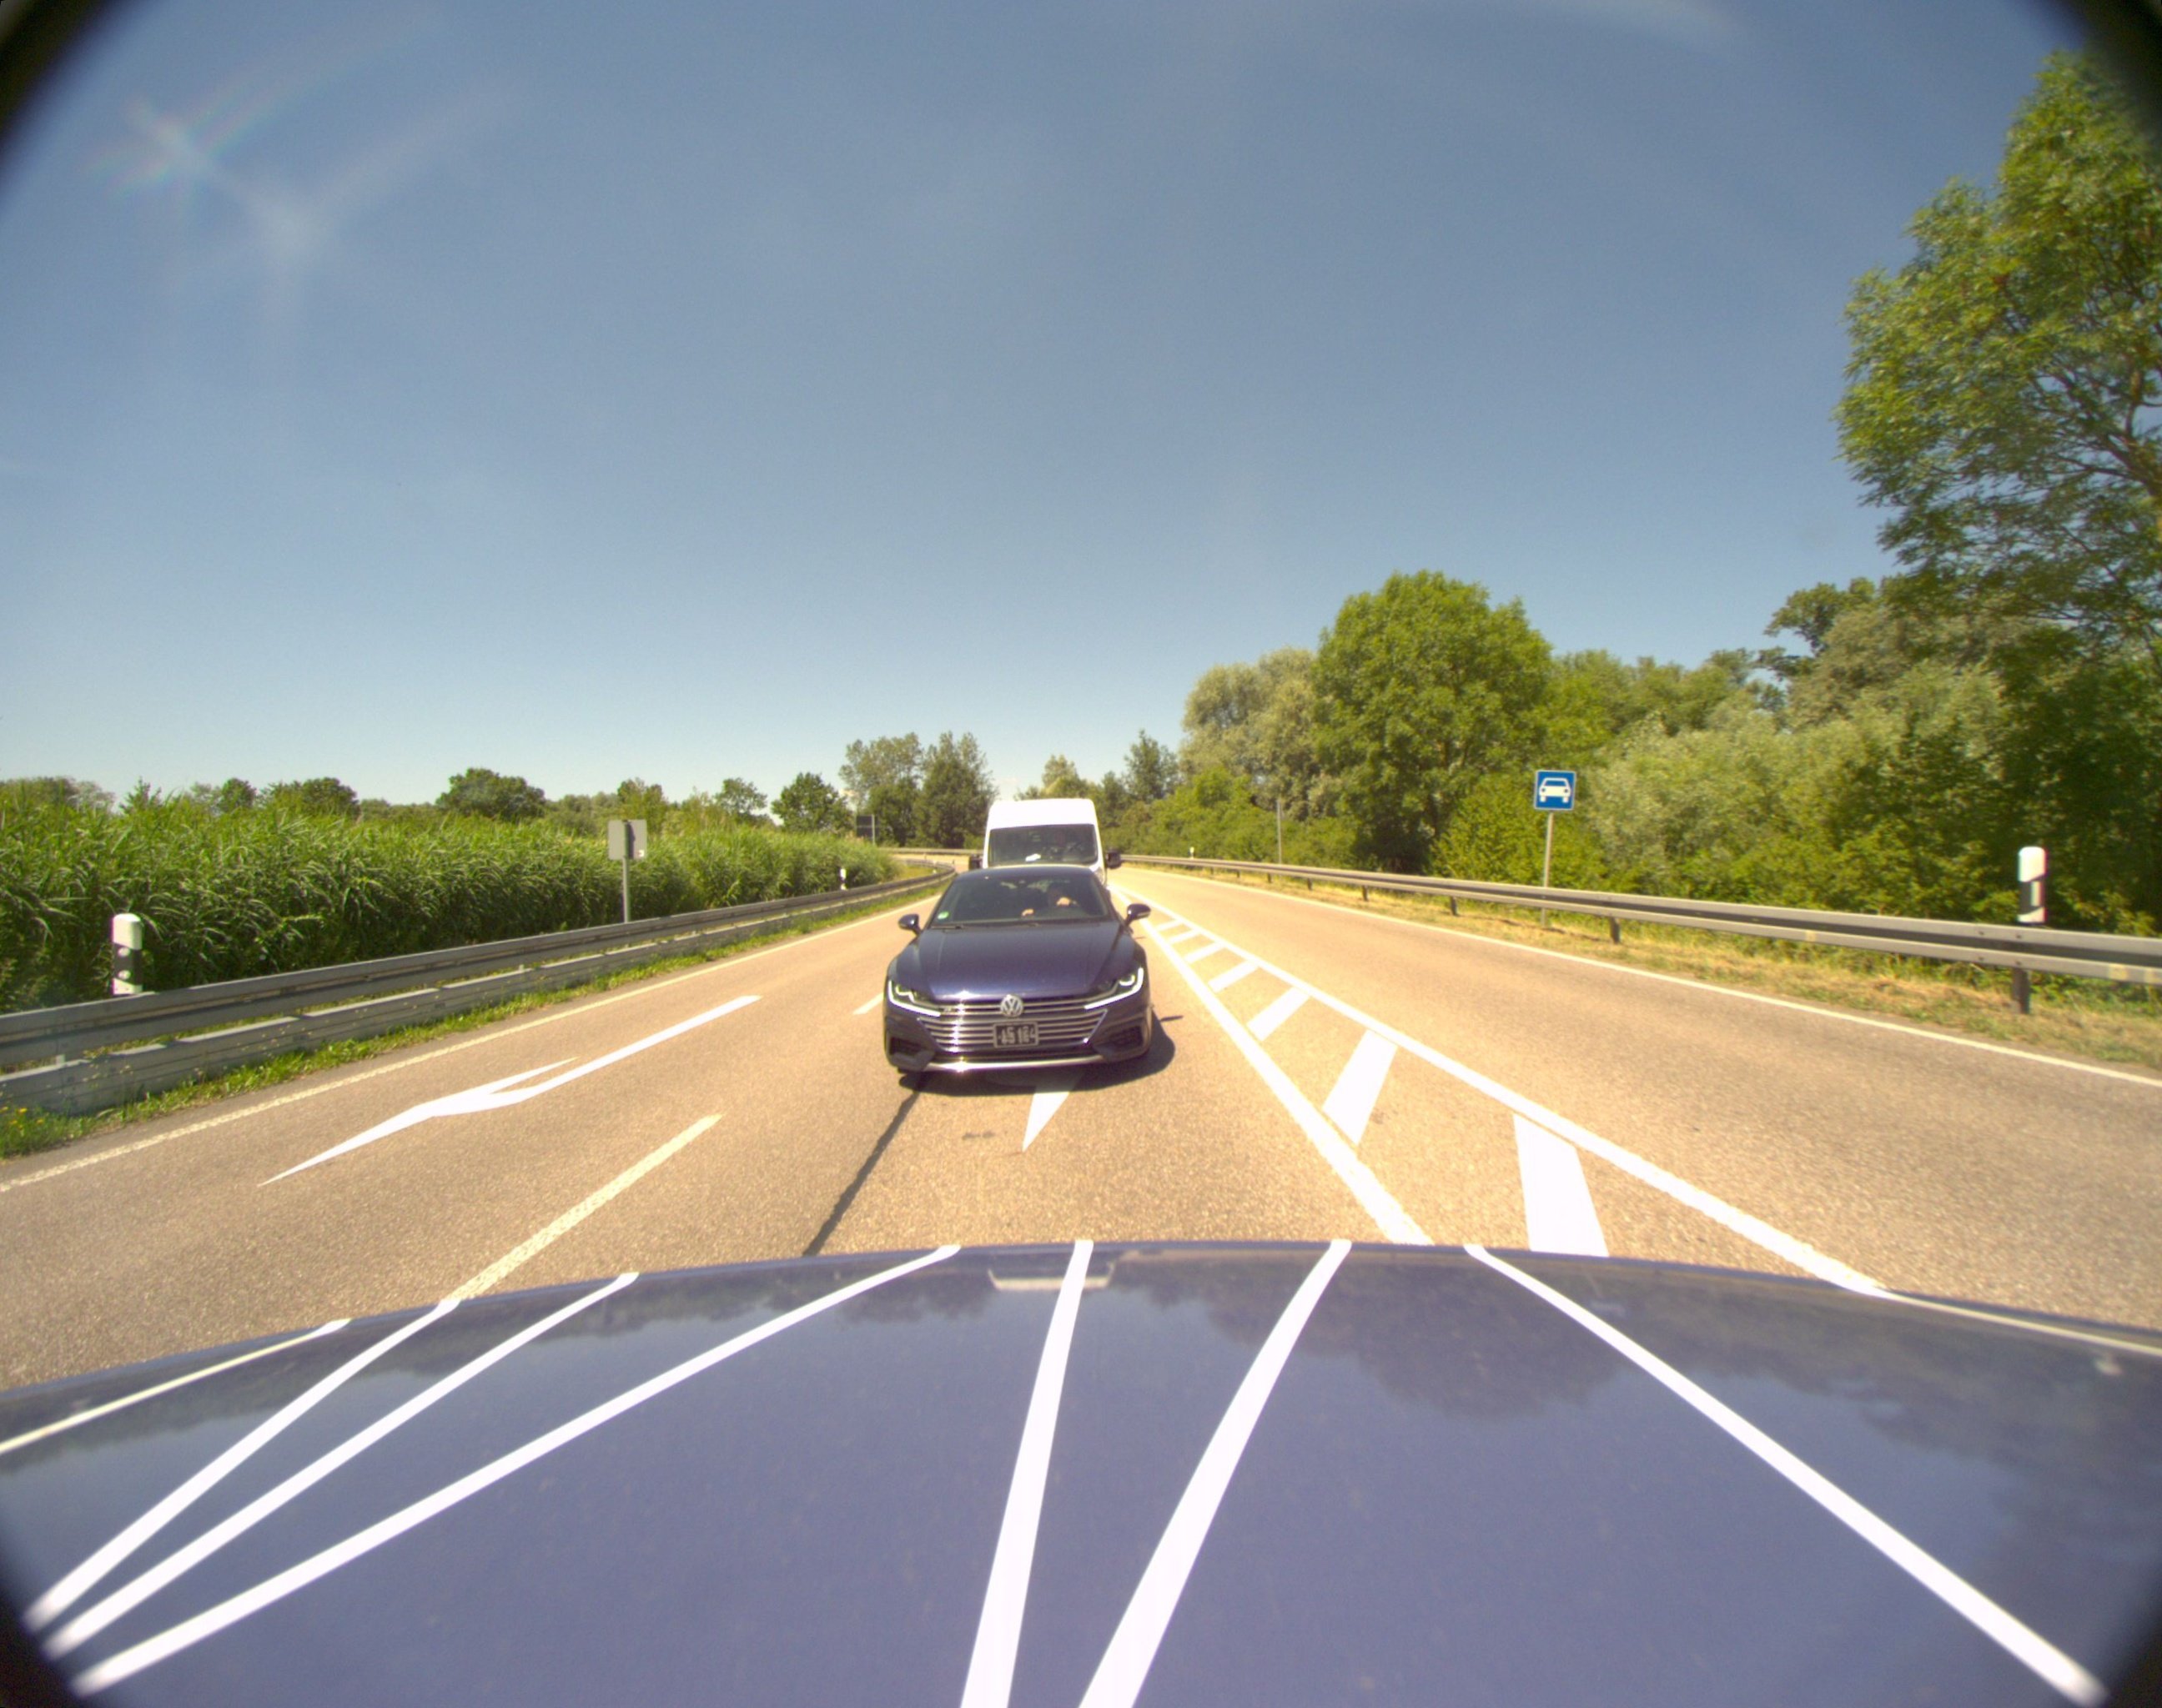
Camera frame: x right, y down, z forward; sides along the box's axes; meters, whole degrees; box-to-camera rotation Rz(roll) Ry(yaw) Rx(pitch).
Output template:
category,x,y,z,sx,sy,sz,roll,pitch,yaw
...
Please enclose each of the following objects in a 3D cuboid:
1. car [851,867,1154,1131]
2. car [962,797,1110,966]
category,x,y,z,sx,sy,sz,roll,pitch,yaw
car,-0.444,0.907,6.550,1.760,1.401,3.999,-2,1,1
car,-0.612,0.360,13.957,2.059,2.376,5.826,-2,1,1
